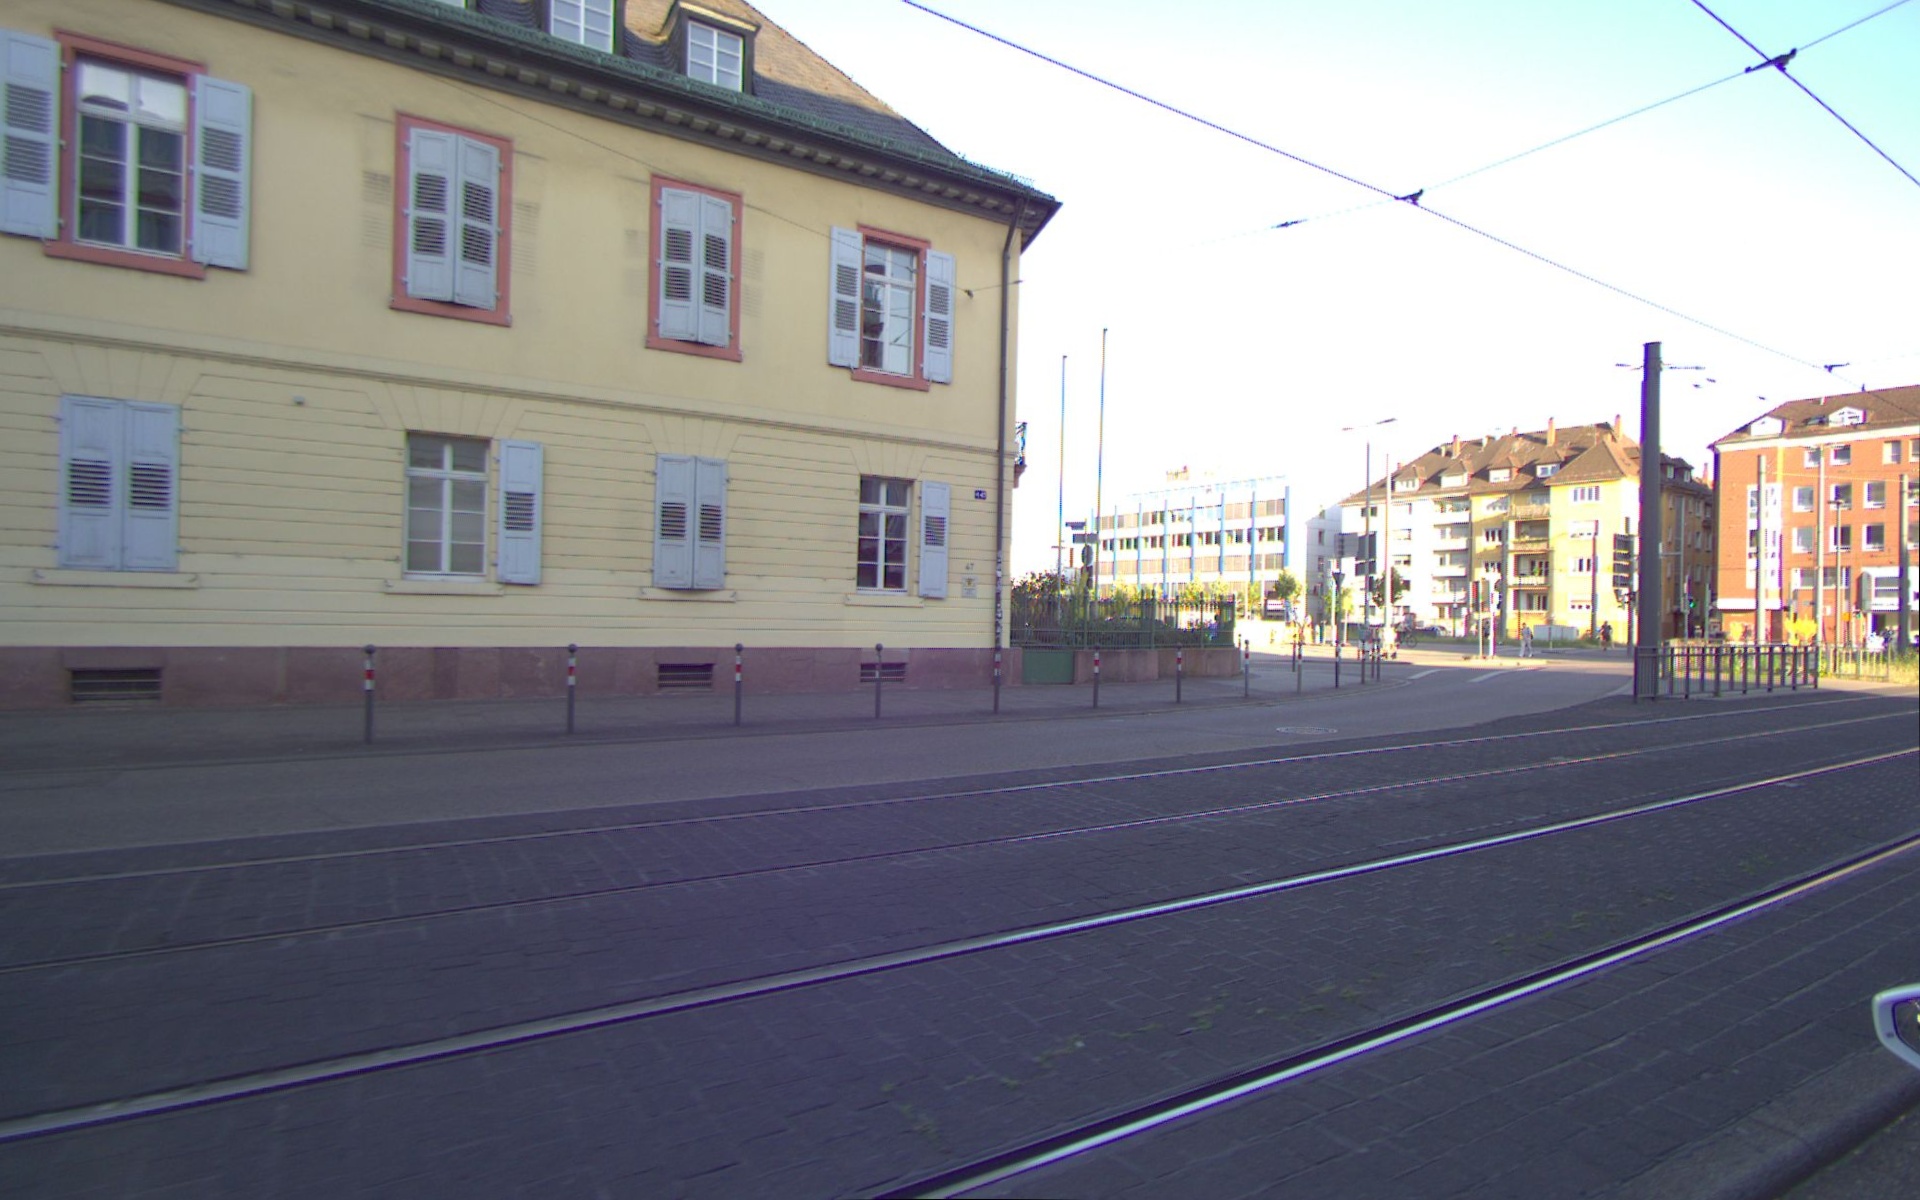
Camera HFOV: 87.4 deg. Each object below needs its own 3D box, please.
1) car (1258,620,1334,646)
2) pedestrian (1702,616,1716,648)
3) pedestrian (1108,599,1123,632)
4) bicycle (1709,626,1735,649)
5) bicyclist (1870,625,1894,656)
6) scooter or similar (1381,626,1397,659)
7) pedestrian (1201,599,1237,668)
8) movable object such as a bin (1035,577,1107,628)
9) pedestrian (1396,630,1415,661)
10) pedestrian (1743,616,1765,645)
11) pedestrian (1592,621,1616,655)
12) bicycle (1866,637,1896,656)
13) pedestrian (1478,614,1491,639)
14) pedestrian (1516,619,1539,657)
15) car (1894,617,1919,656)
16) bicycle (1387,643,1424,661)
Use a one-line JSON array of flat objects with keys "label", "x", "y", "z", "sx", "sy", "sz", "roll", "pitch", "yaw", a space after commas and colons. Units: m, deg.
[{"label": "car", "x": 22.786, "y": 2.222, "z": 68.212, "sx": 4.493, "sy": 1.639, "sz": 1.992, "roll": 0, "pitch": -1, "yaw": 37}, {"label": "pedestrian", "x": 45.540, "y": 1.930, "z": 61.067, "sx": 0.557, "sy": 1.893, "sz": 0.498, "roll": 1, "pitch": 1, "yaw": -36}, {"label": "pedestrian", "x": 8.052, "y": 0.798, "z": 51.997, "sx": 0.528, "sy": 1.681, "sz": 0.597, "roll": 0, "pitch": -1, "yaw": 40}, {"label": "bicycle", "x": 46.107, "y": 2.246, "z": 60.770, "sx": 1.995, "sy": 1.343, "sz": 0.614, "roll": 1, "pitch": 1, "yaw": -35}, {"label": "bicyclist", "x": 51.009, "y": 2.241, "z": 55.569, "sx": 0.966, "sy": 1.711, "sz": 0.660, "roll": 1, "pitch": -1, "yaw": -25}, {"label": "scooter or similar", "x": 17.281, "y": 1.702, "z": 40.517, "sx": 0.507, "sy": 1.289, "sz": 1.256, "roll": 1, "pitch": -1, "yaw": 20}, {"label": "pedestrian", "x": 7.399, "y": 0.951, "z": 28.732, "sx": 0.751, "sy": 1.918, "sz": 0.728, "roll": 1, "pitch": 0, "yaw": -7}, {"label": "movable object such as a bin", "x": 7.313, "y": 0.198, "z": 66.466, "sx": 4.273, "sy": 3.272, "sz": 1.993, "roll": 1, "pitch": -1, "yaw": -17}, {"label": "pedestrian", "x": 28.593, "y": 2.923, "z": 64.466, "sx": 0.888, "sy": 1.936, "sz": 0.836, "roll": 1, "pitch": 0, "yaw": -42}, {"label": "pedestrian", "x": 54.095, "y": 2.057, "z": 68.445, "sx": 0.832, "sy": 1.893, "sz": 0.932, "roll": 1, "pitch": 2, "yaw": -40}, {"label": "pedestrian", "x": 38.052, "y": 2.241, "z": 59.374, "sx": 1.084, "sy": 1.970, "sz": 1.020, "roll": 0, "pitch": -1, "yaw": 40}, {"label": "bicycle", "x": 50.964, "y": 2.591, "z": 55.557, "sx": 1.600, "sy": 1.022, "sz": 0.664, "roll": 1, "pitch": -1, "yaw": -25}, {"label": "pedestrian", "x": 39.632, "y": 1.976, "z": 75.896, "sx": 0.710, "sy": 1.893, "sz": 0.881, "roll": 0, "pitch": -1, "yaw": 39}, {"label": "pedestrian", "x": 28.683, "y": 1.918, "z": 50.731, "sx": 0.871, "sy": 1.893, "sz": 0.972, "roll": 0, "pitch": -1, "yaw": 38}, {"label": "car", "x": 49.826, "y": 1.881, "z": 51.354, "sx": 4.761, "sy": 1.926, "sz": 1.982, "roll": 1, "pitch": -1, "yaw": -34}, {"label": "bicycle", "x": 28.587, "y": 3.319, "z": 64.466, "sx": 0.888, "sy": 1.074, "sz": 1.985, "roll": 1, "pitch": -1, "yaw": -41}]
